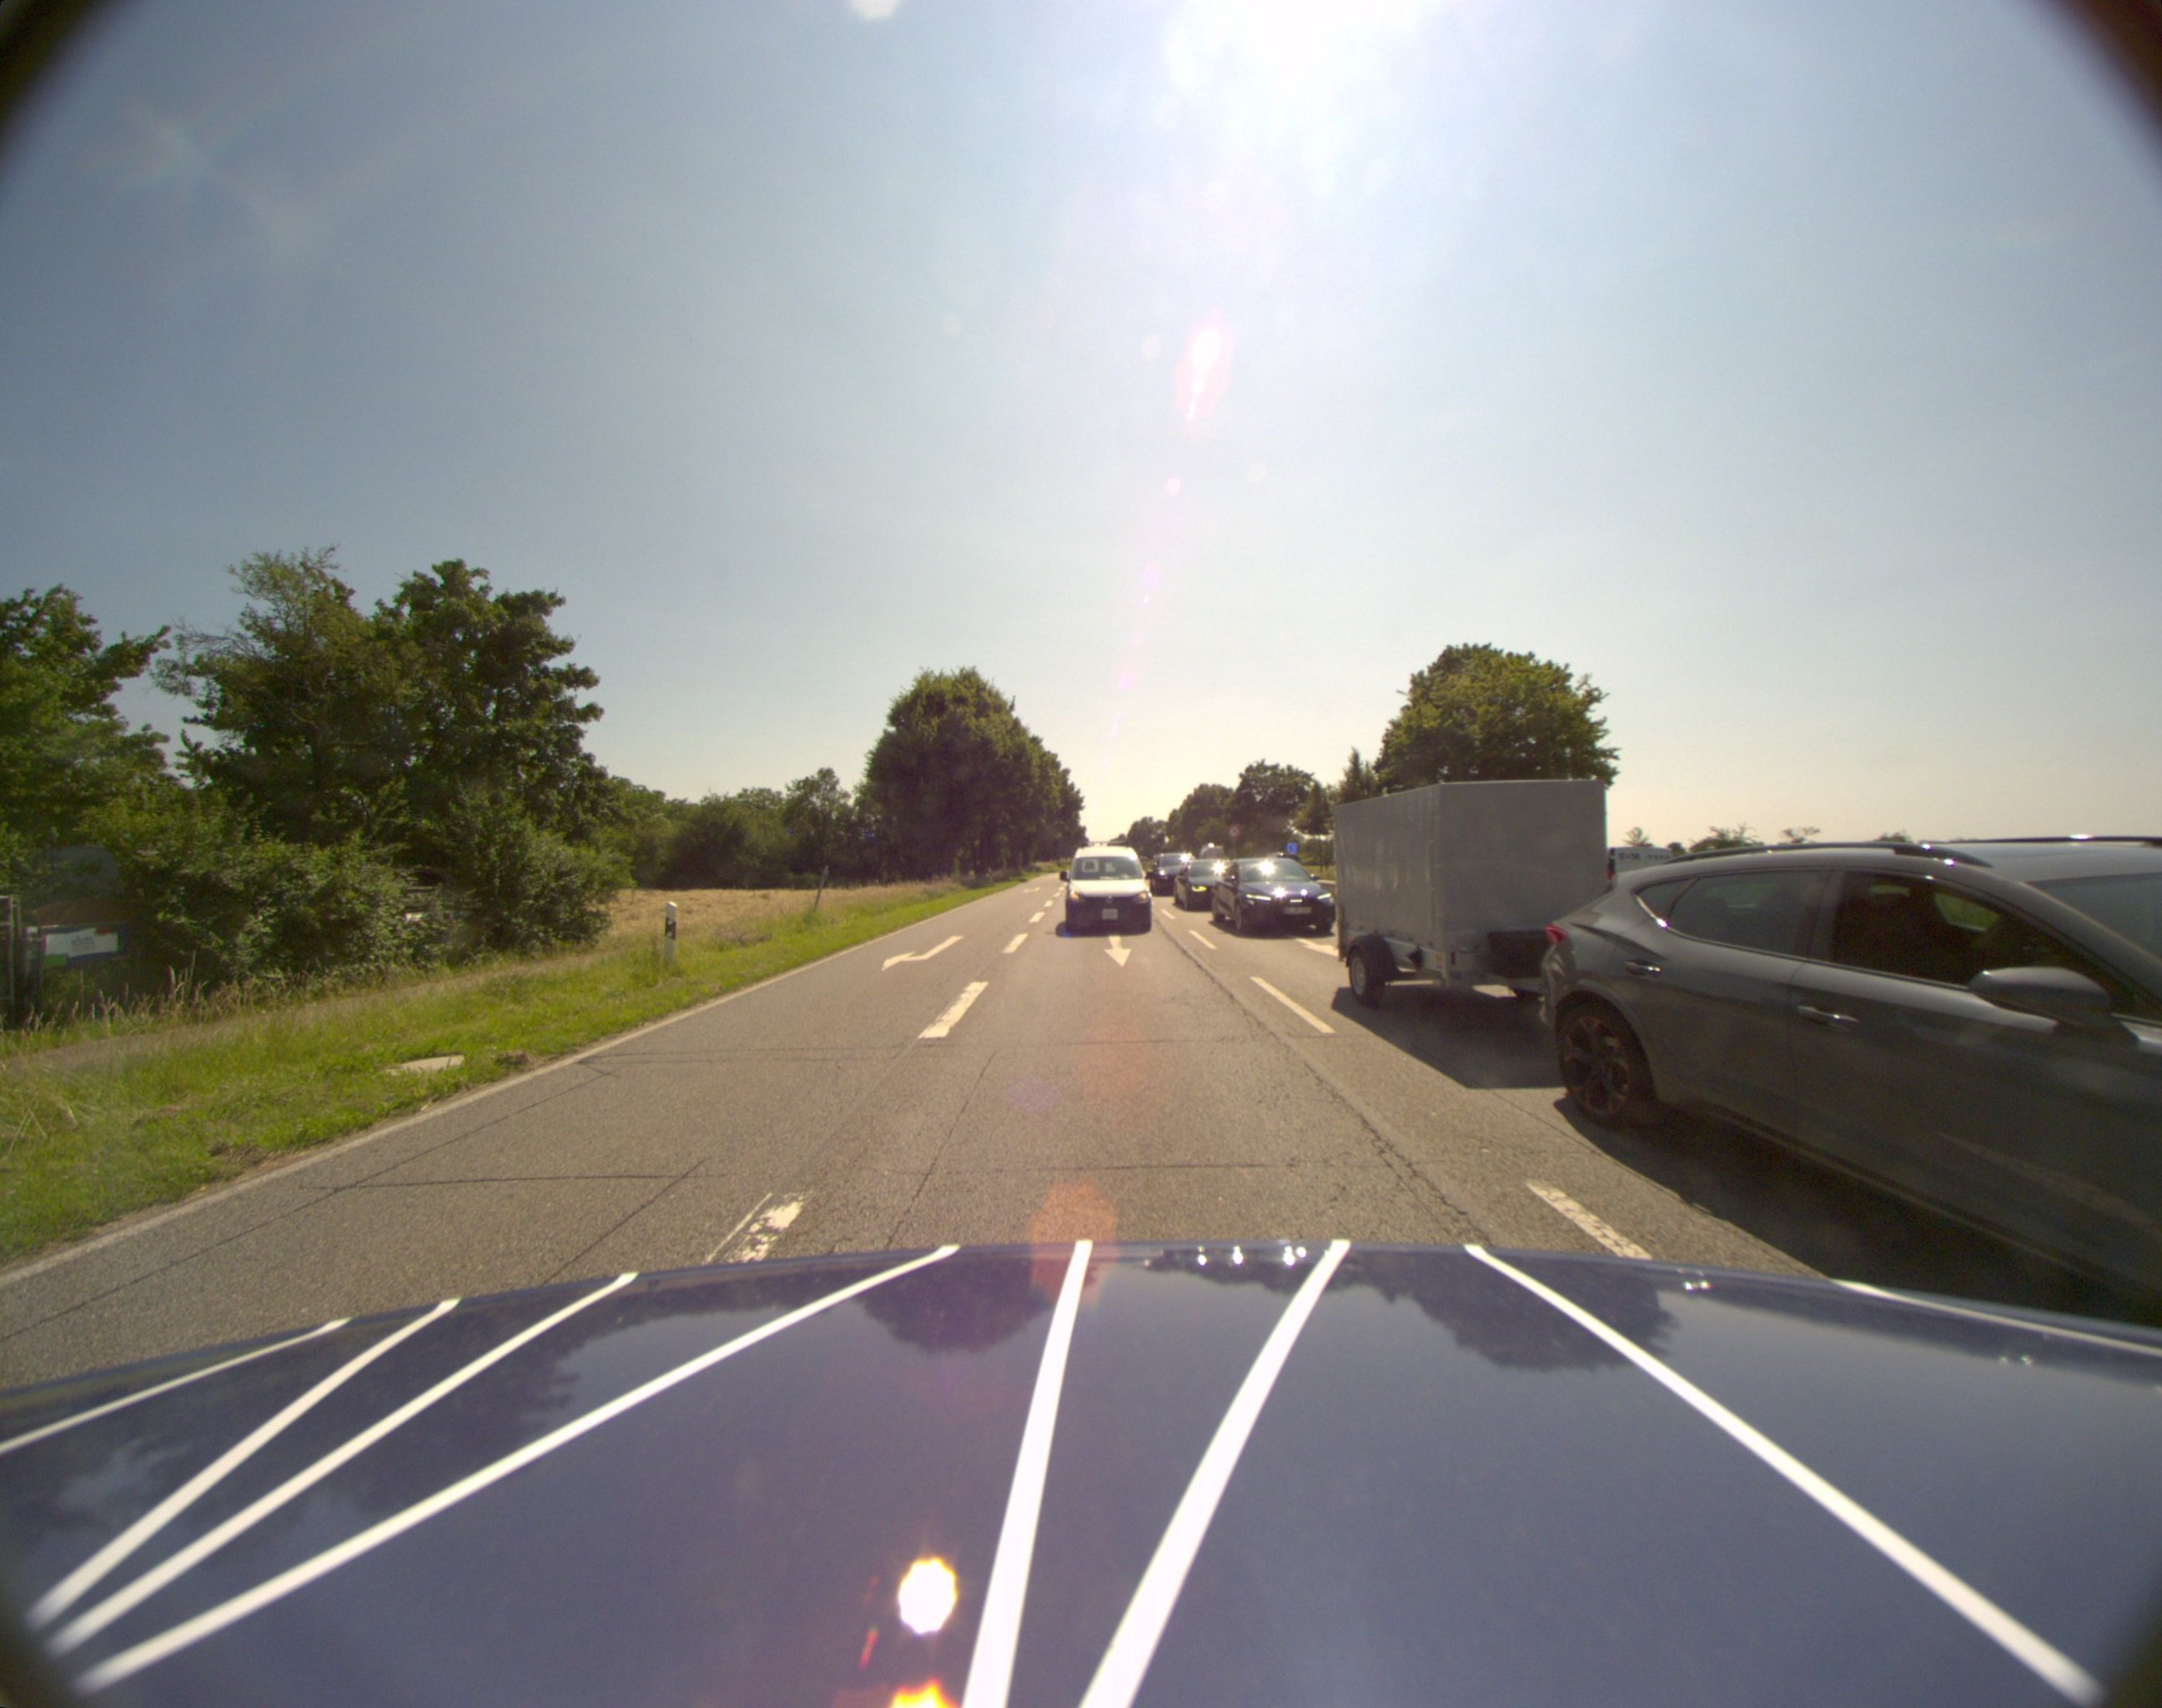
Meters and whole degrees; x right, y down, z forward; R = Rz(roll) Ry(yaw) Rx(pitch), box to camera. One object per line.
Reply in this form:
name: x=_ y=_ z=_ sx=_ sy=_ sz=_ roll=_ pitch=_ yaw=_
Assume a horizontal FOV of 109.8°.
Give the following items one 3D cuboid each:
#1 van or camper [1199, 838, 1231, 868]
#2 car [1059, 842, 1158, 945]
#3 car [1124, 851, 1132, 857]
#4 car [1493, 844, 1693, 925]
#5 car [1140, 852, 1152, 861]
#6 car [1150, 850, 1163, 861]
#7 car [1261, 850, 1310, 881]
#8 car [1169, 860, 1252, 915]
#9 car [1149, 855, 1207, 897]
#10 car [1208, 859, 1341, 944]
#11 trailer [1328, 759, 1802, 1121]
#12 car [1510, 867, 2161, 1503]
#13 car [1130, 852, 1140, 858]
van or camper: x=13.852 y=-0.104 z=79.027 sx=2.269 sy=3.081 sz=5.695 roll=0 pitch=0 yaw=-1
car: x=0.538 y=0.736 z=16.490 sx=1.777 sy=1.863 sz=4.581 roll=-2 pitch=0 yaw=1
car: x=12.923 y=-0.062 z=210.798 sx=1.998 sy=1.653 sz=4.480 roll=0 pitch=0 yaw=0
car: x=13.566 y=0.731 z=20.607 sx=1.999 sy=1.919 sz=5.015 roll=0 pitch=0 yaw=-1
car: x=11.785 y=0.464 z=138.054 sx=1.884 sy=1.445 sz=4.505 roll=0 pitch=0 yaw=0
car: x=14.442 y=0.292 z=145.770 sx=1.998 sy=1.940 sz=4.830 roll=0 pitch=0 yaw=0
car: x=13.114 y=0.711 z=49.070 sx=1.862 sy=1.845 sz=4.696 roll=0 pitch=0 yaw=-1
car: x=3.716 y=0.906 z=22.519 sx=1.744 sy=1.372 sz=4.455 roll=-2 pitch=0 yaw=1
car: x=3.792 y=0.806 z=30.398 sx=1.860 sy=1.507 sz=4.100 roll=-1 pitch=0 yaw=2
car: x=3.815 y=0.867 z=15.658 sx=1.721 sy=1.456 sz=4.030 roll=-2 pitch=0 yaw=1
trailer: x=3.616 y=0.530 z=6.699 sx=1.504 sy=2.160 sz=4.174 roll=-2 pitch=0 yaw=0
car: x=3.560 y=0.852 z=2.563 sx=1.750 sy=1.494 sz=4.363 roll=-2 pitch=0 yaw=0
car: x=13.321 y=0.277 z=187.930 sx=1.998 sy=1.594 sz=4.480 roll=0 pitch=0 yaw=0
